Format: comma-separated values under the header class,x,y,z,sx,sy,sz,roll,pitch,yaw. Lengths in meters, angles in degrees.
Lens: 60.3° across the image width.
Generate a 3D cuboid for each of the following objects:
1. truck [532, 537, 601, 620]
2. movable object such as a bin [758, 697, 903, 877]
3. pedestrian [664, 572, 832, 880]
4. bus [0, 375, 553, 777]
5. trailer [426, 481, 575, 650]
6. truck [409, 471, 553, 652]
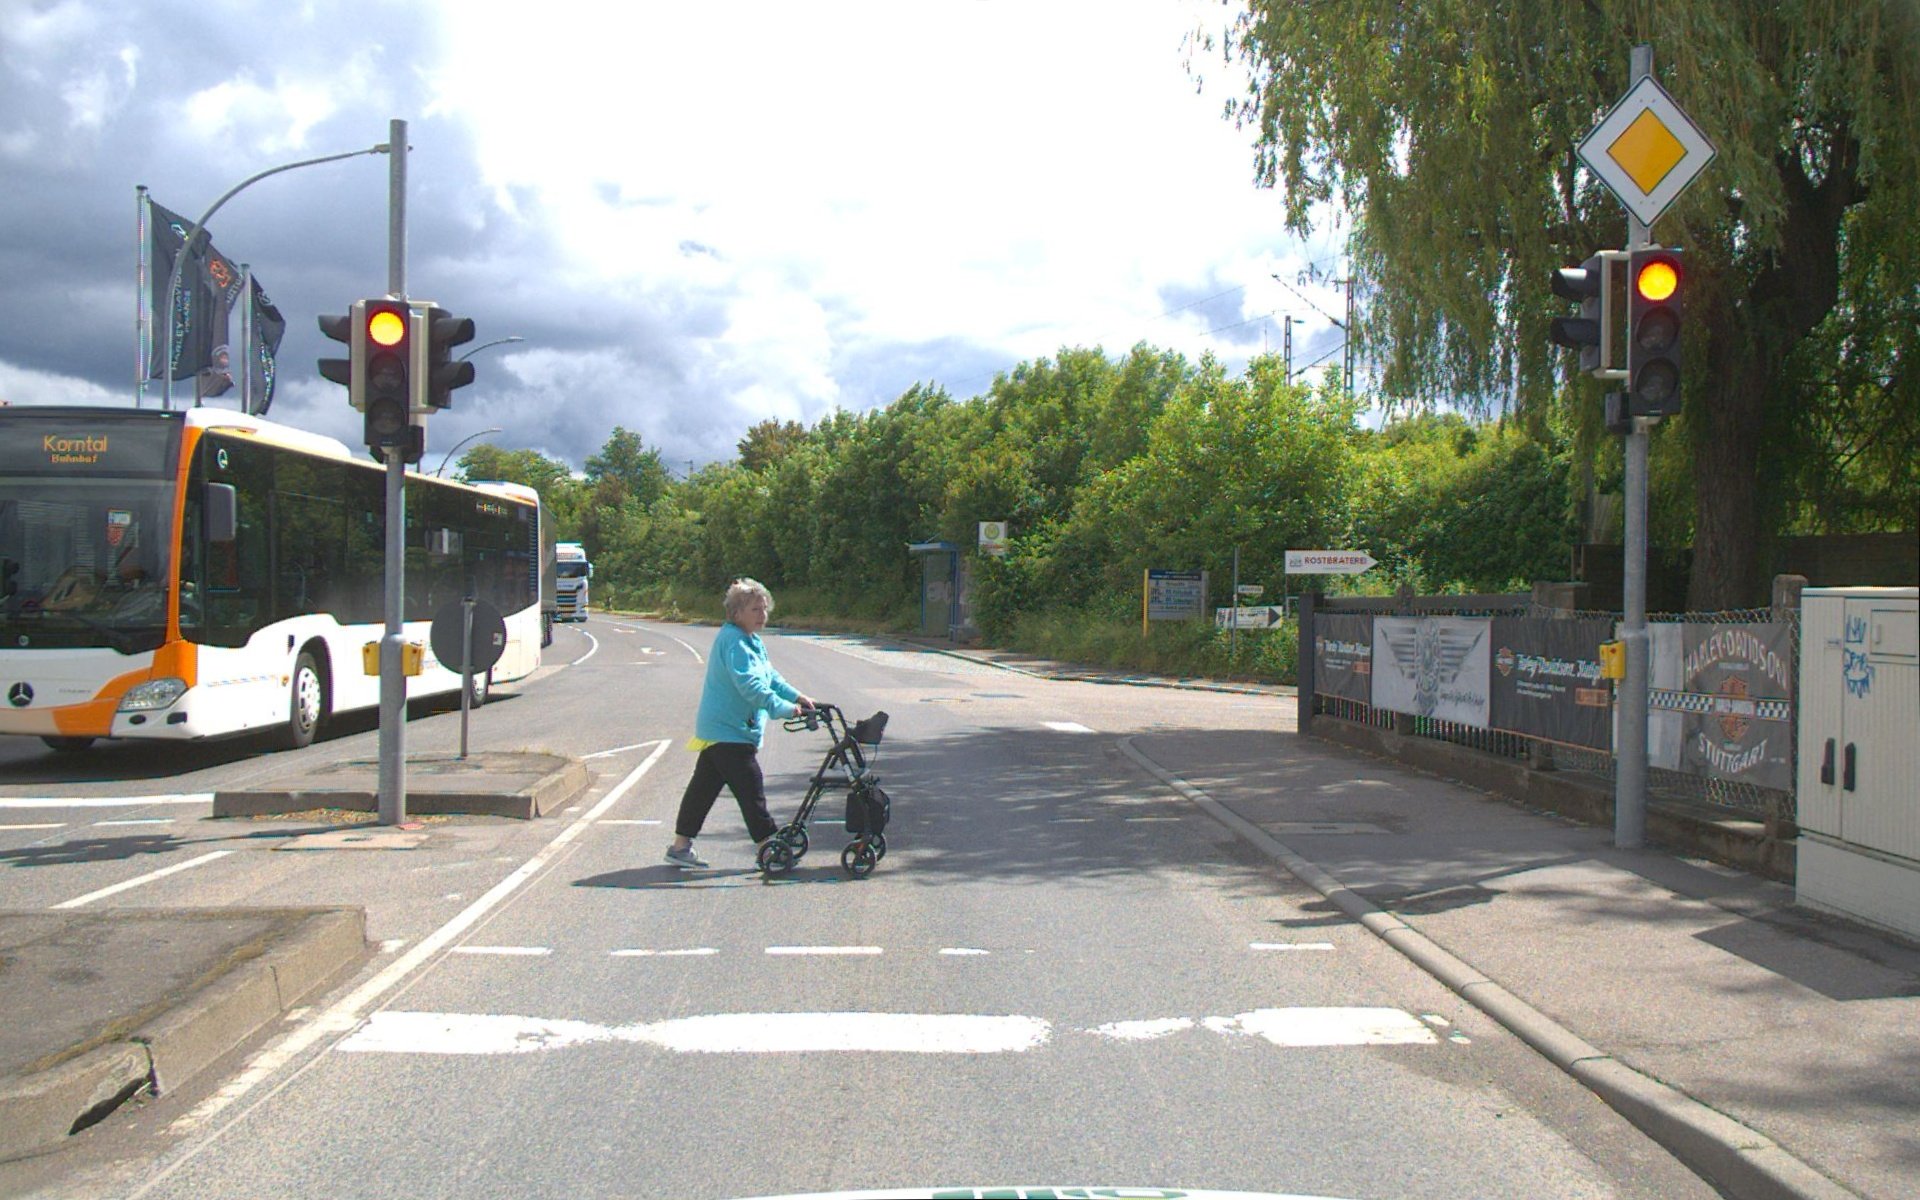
class,x,y,z,sx,sy,sz,roll,pitch,yaw
truck,-20.718,-1.080,86.924,2.734,4.191,4.951,1,0,-23
movable object such as a bin,-0.691,0.991,8.897,0.731,0.887,0.670,1,0,-4
pedestrian,-1.114,0.649,8.862,0.822,1.570,0.733,1,-1,-4
bus,-7.392,-0.161,18.848,2.663,3.084,12.263,0,0,-1
trailer,-13.167,-0.831,48.657,2.748,4.124,15.517,1,0,-10
truck,-11.868,-0.877,41.492,2.748,4.124,6.484,1,0,-10
